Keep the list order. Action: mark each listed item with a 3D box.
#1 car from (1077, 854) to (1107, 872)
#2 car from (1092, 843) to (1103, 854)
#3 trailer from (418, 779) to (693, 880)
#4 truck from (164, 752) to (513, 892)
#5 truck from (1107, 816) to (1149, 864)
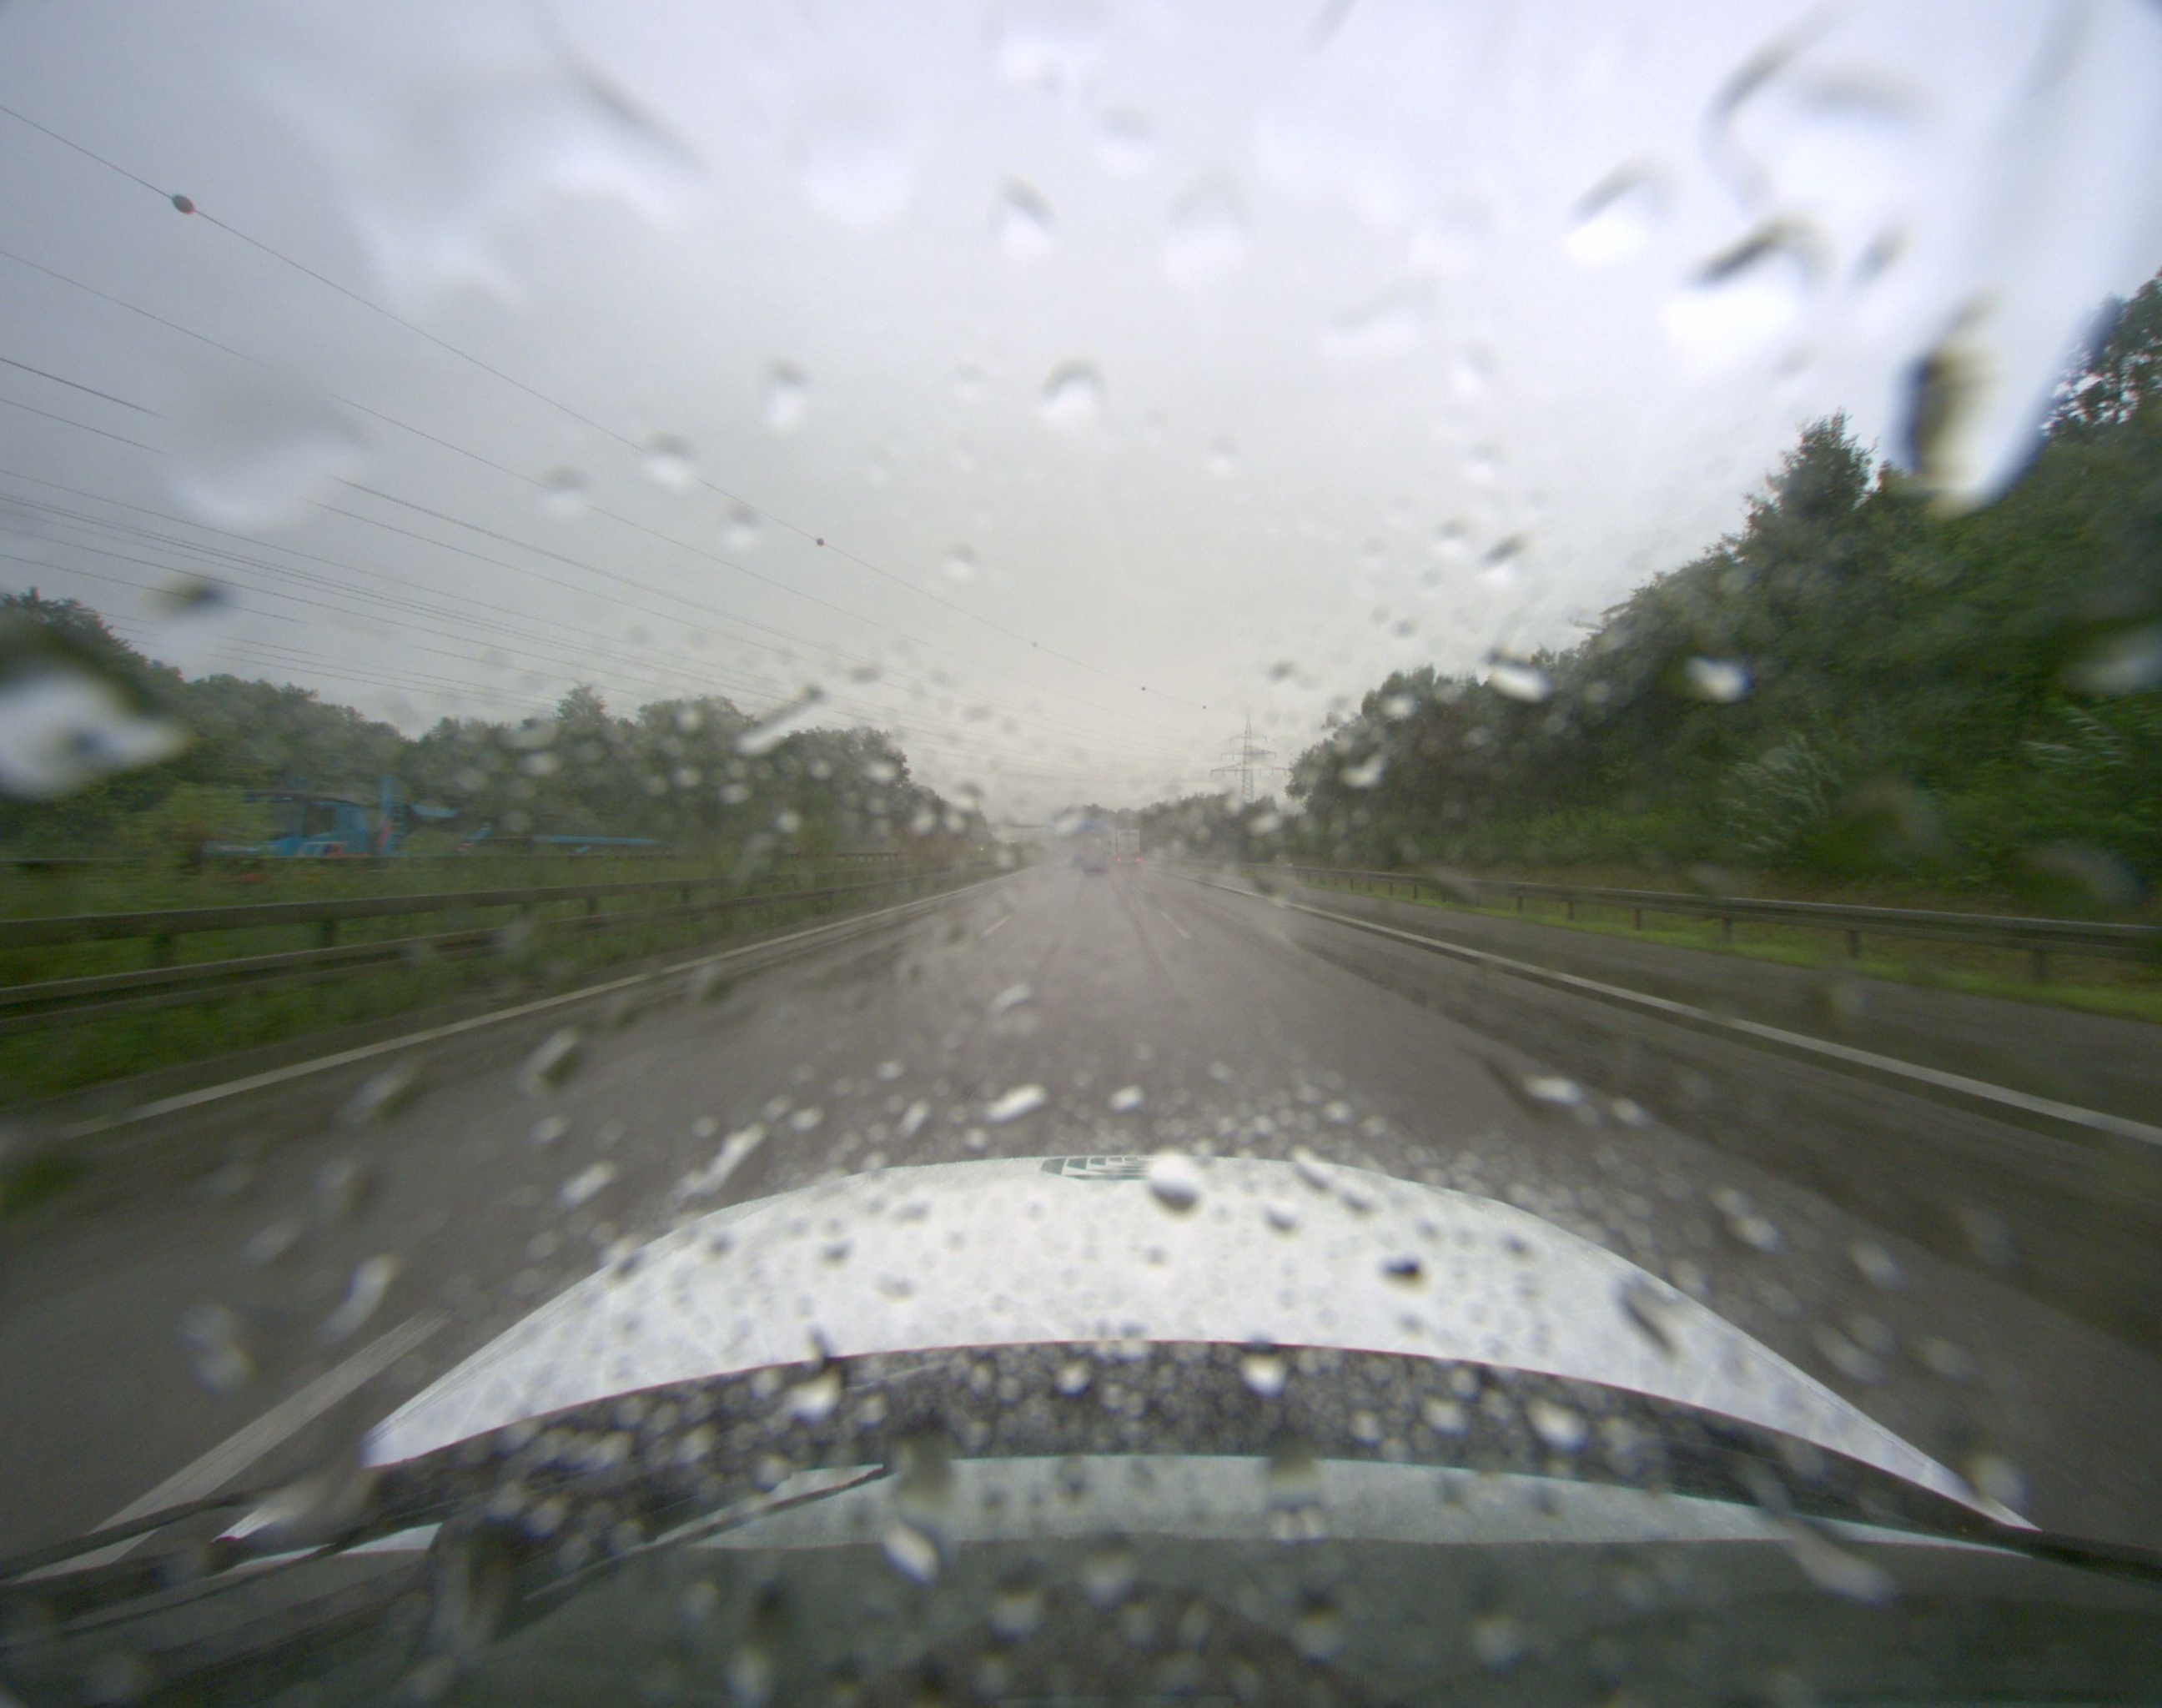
[{"bbox_3d":[0.814,0.623,57.759,1.740,1.212,4.006,2,0,5],"label":"car"},{"bbox_3d":[3.570,-1.294,176.281,2.384,2.272,5.004,1,1,1],"label":"car"},{"bbox_3d":[-20.520,-0.847,33.361,3.036,3.250,12.023,3,0,1],"label":"trailer"},{"bbox_3d":[-20.778,-0.805,23.648,3.057,3.276,7.394,3,0,1],"label":"truck"},{"bbox_3d":[5.463,-1.499,93.205,4.238,4.972,17.357,-1,0,4],"label":"truck"}]
